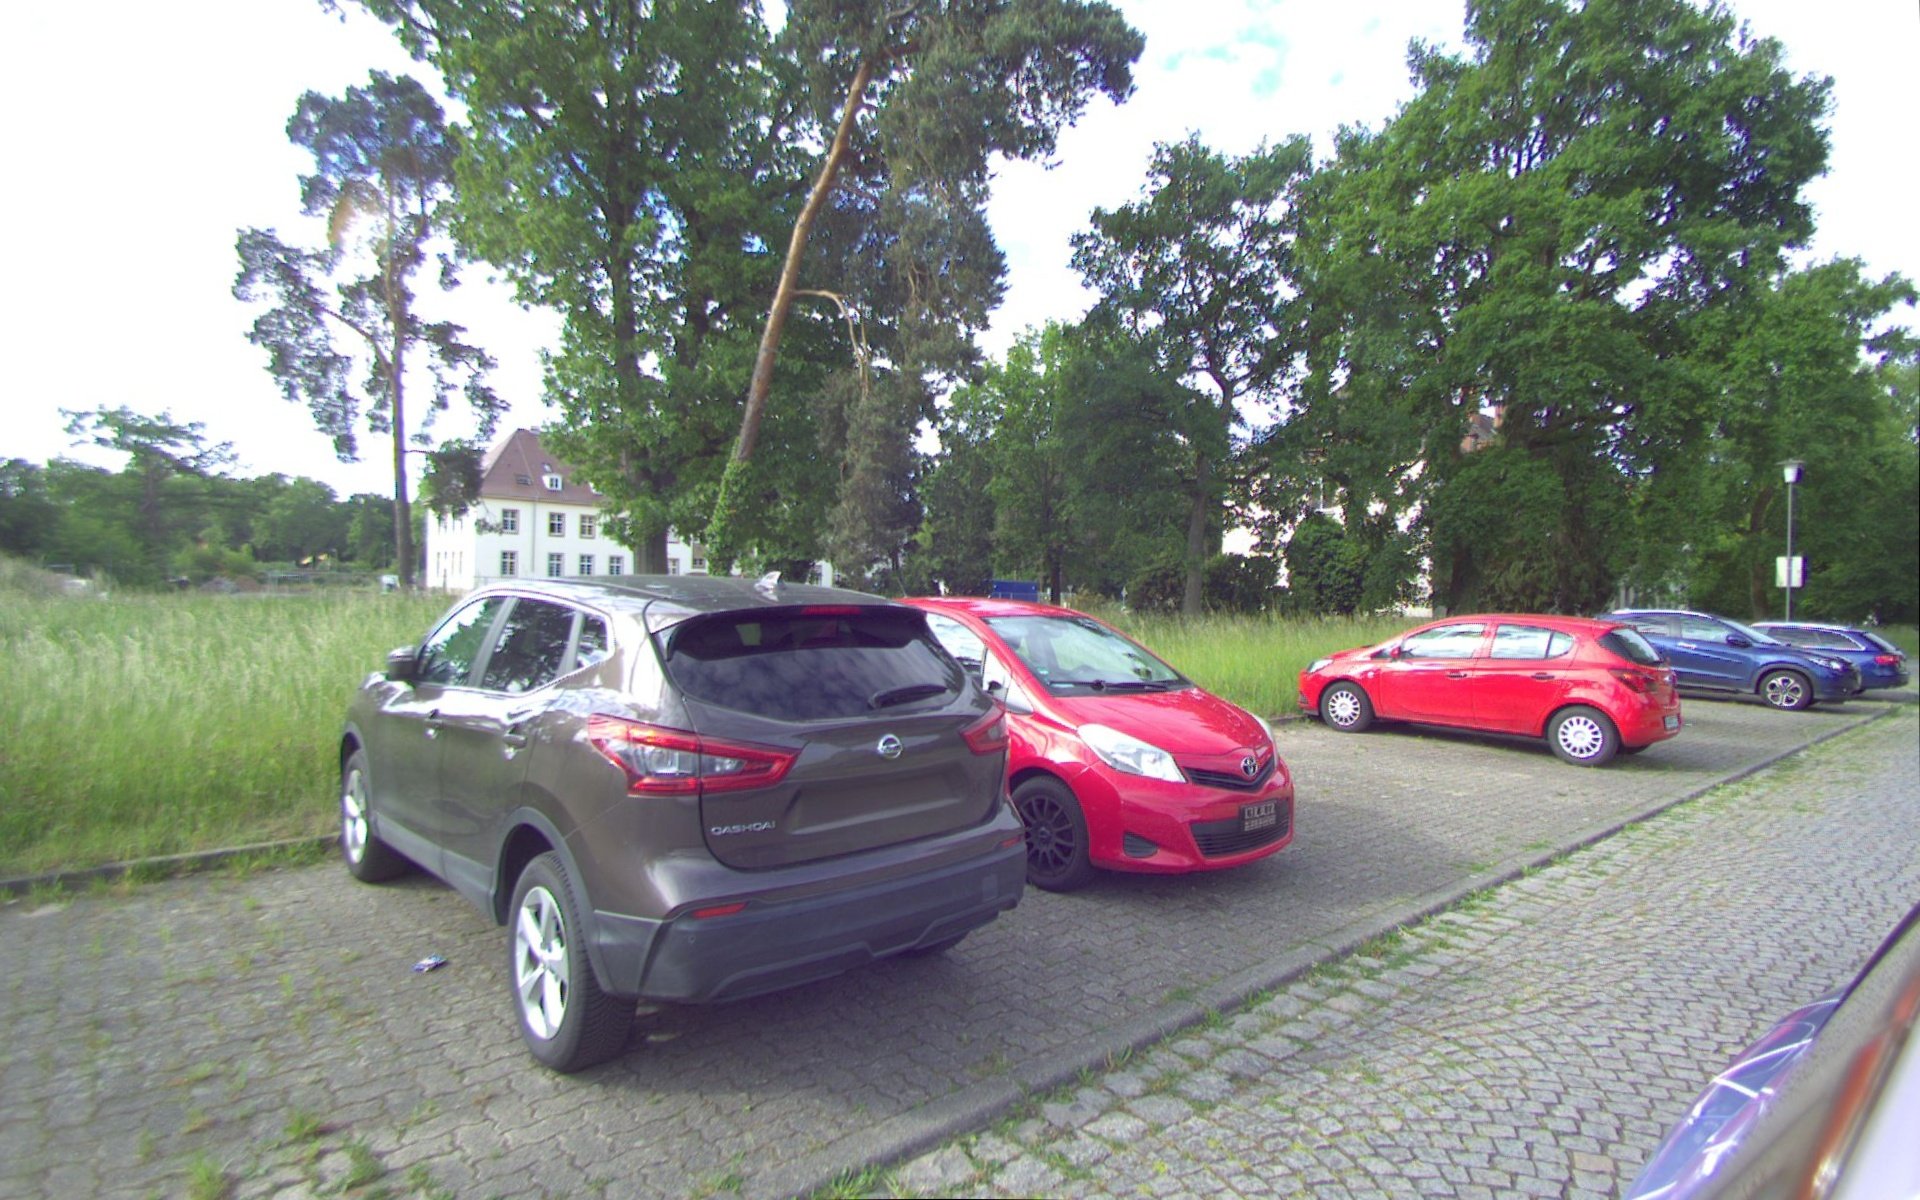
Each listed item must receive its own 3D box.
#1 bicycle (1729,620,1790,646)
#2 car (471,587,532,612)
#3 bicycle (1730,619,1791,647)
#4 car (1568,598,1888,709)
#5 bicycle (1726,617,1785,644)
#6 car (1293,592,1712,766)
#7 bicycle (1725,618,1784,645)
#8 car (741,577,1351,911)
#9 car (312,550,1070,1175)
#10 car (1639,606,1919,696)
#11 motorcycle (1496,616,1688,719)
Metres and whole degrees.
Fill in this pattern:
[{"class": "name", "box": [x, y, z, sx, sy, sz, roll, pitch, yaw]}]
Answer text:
[{"class": "bicycle", "box": [34.916, 1.420, 44.219, 1.999, 1.022, 0.474, 2, 2, 28]}, {"class": "car", "box": [-37.821, -0.029, 83.470, 5.811, 2.039, 2.450, 0, 0, 41]}, {"class": "bicycle", "box": [34.636, 1.414, 43.822, 1.999, 1.101, 0.474, 2, 2, 28]}, {"class": "car", "box": [13.659, 0.860, 18.201, 1.862, 1.593, 4.271, 2, 1, -41]}, {"class": "bicycle", "box": [35.882, 1.375, 45.671, 1.999, 1.101, 0.474, 2, 2, 28]}, {"class": "car", "box": [6.009, 0.745, 11.540, 1.708, 1.524, 3.845, 1, 1, -42]}, {"class": "bicycle", "box": [35.457, 1.386, 45.203, 1.999, 1.101, 0.474, 2, 2, 28]}, {"class": "car", "box": [0.293, 0.641, 6.755, 1.707, 1.538, 3.994, 1, 0, -41]}, {"class": "car", "box": [-1.561, 0.656, 4.654, 1.732, 1.600, 3.955, 1, 0, -42]}, {"class": "car", "box": [17.210, 0.979, 21.248, 1.860, 1.483, 4.518, 2, 1, -37]}, {"class": "motorcycle", "box": [9.050, 0.926, 14.578, 2.265, 1.291, 0.596, 2, 1, 44]}]
